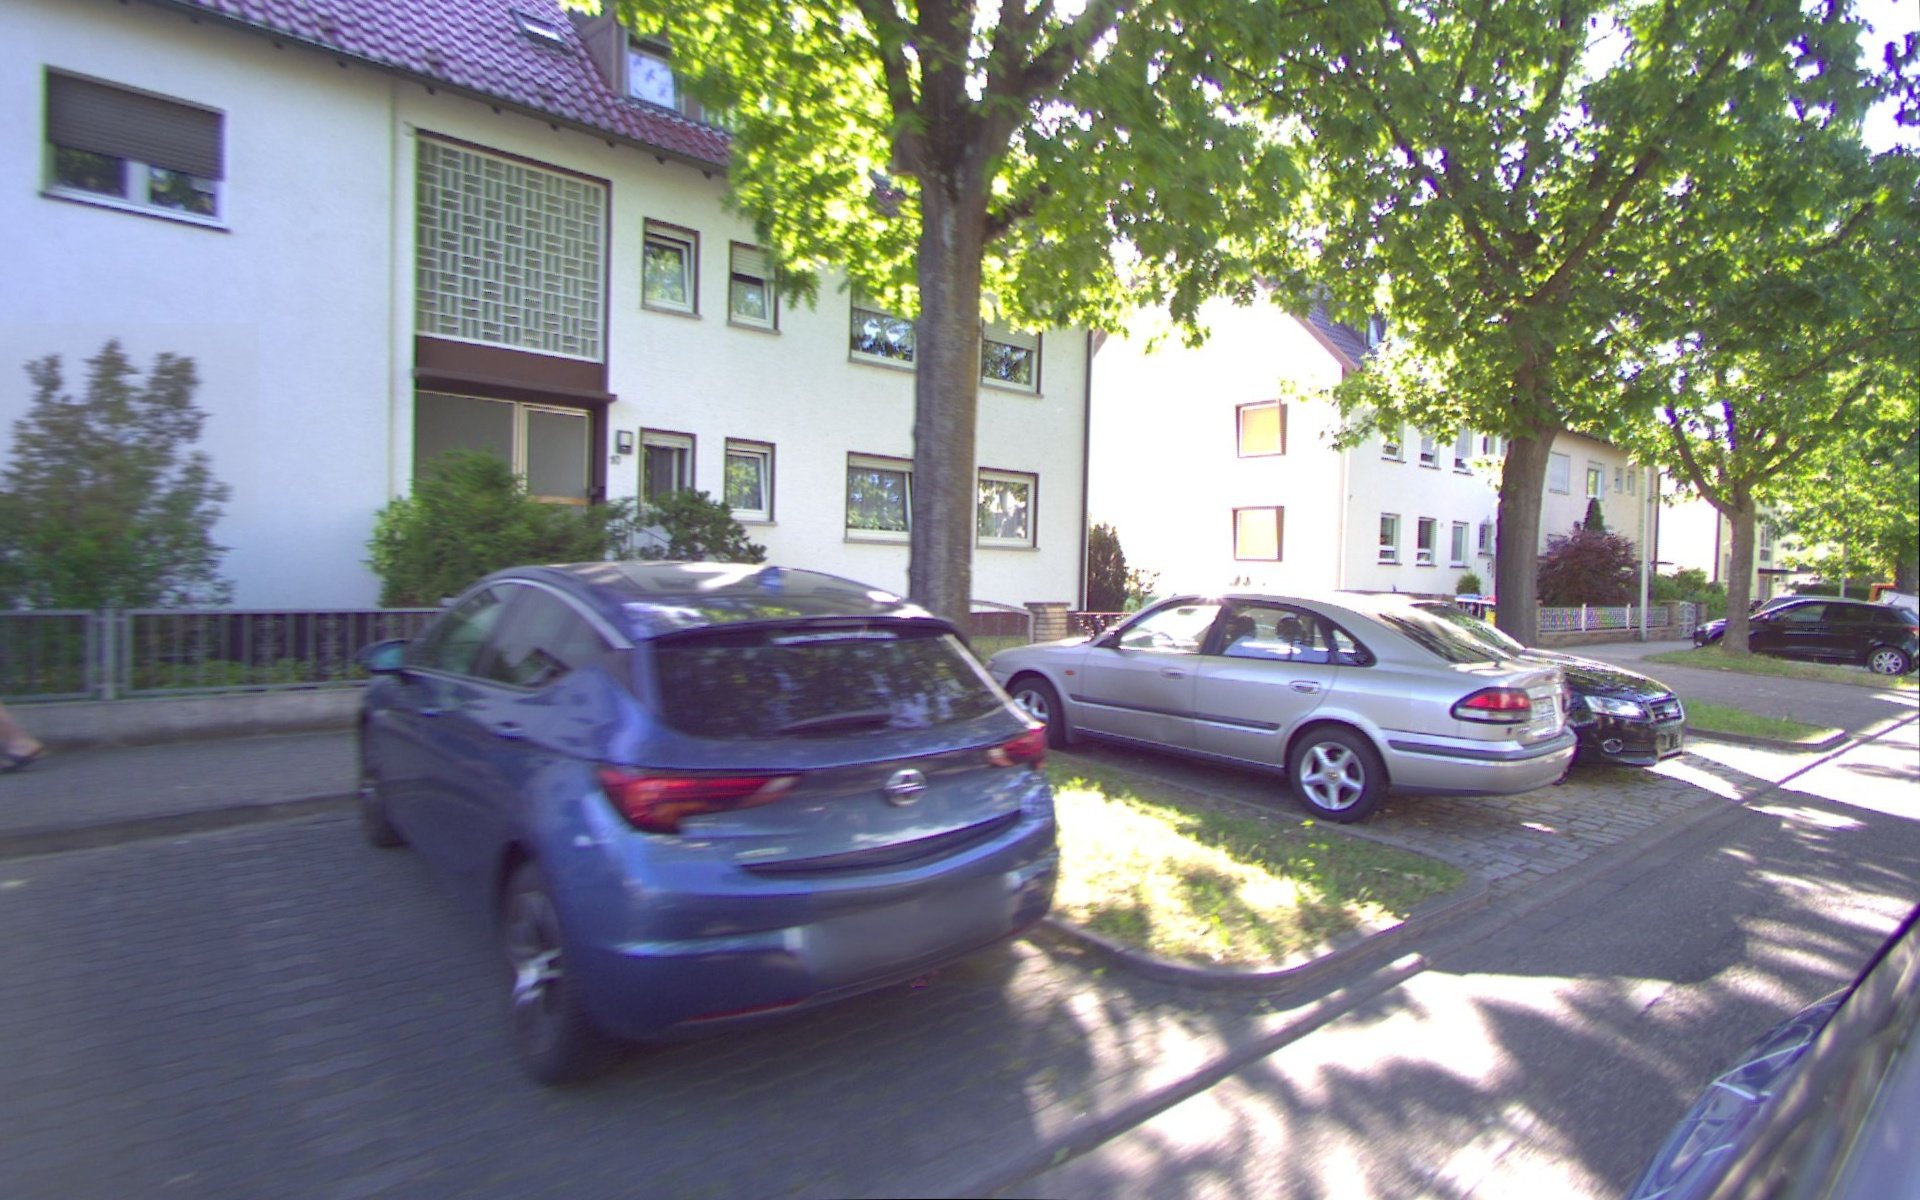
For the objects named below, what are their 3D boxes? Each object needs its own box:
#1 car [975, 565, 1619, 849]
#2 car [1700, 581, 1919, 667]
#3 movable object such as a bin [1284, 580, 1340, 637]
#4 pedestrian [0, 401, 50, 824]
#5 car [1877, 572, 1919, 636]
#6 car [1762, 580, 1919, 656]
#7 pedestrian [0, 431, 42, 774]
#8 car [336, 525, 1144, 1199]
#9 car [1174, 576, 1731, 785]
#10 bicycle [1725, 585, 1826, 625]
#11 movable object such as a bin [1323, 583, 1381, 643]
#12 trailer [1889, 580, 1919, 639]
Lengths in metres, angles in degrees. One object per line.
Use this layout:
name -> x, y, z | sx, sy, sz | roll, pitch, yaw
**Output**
car -> 2.246, 0.523, 7.673 | 1.766, 1.431, 4.283 | 0, 3, -43
car -> 18.135, 0.445, 21.233 | 1.630, 1.534, 3.894 | 0, 3, -38
movable object such as a bin -> 7.150, 0.161, 20.561 | 0.890, 1.112, 0.704 | -1, 3, -40
pedestrian -> -4.760, 0.053, 4.561 | 0.907, 1.896, 0.610 | -1, 3, -37
car -> 33.336, 0.218, 32.926 | 2.048, 2.109, 4.833 | 0, 3, -38
car -> 22.048, 0.412, 24.386 | 1.727, 1.643, 3.995 | 0, 3, -41
pedestrian -> -5.591, 0.003, 5.619 | 0.698, 1.850, 0.836 | -1, 3, -42
car -> -1.428, 0.492, 4.463 | 1.764, 1.521, 4.288 | 0, 3, -38
car -> 4.361, 0.544, 9.596 | 1.840, 1.379, 4.357 | 0, 3, -39
bicycle -> 30.482, 0.165, 37.877 | 0.459, 1.252, 2.868 | -1, 5, -37
movable object such as a bin -> 7.723, 0.236, 19.926 | 0.890, 1.125, 0.704 | -1, 3, -40
trailer -> 29.755, 0.352, 30.101 | 1.588, 1.684, 2.950 | -1, 5, -44
